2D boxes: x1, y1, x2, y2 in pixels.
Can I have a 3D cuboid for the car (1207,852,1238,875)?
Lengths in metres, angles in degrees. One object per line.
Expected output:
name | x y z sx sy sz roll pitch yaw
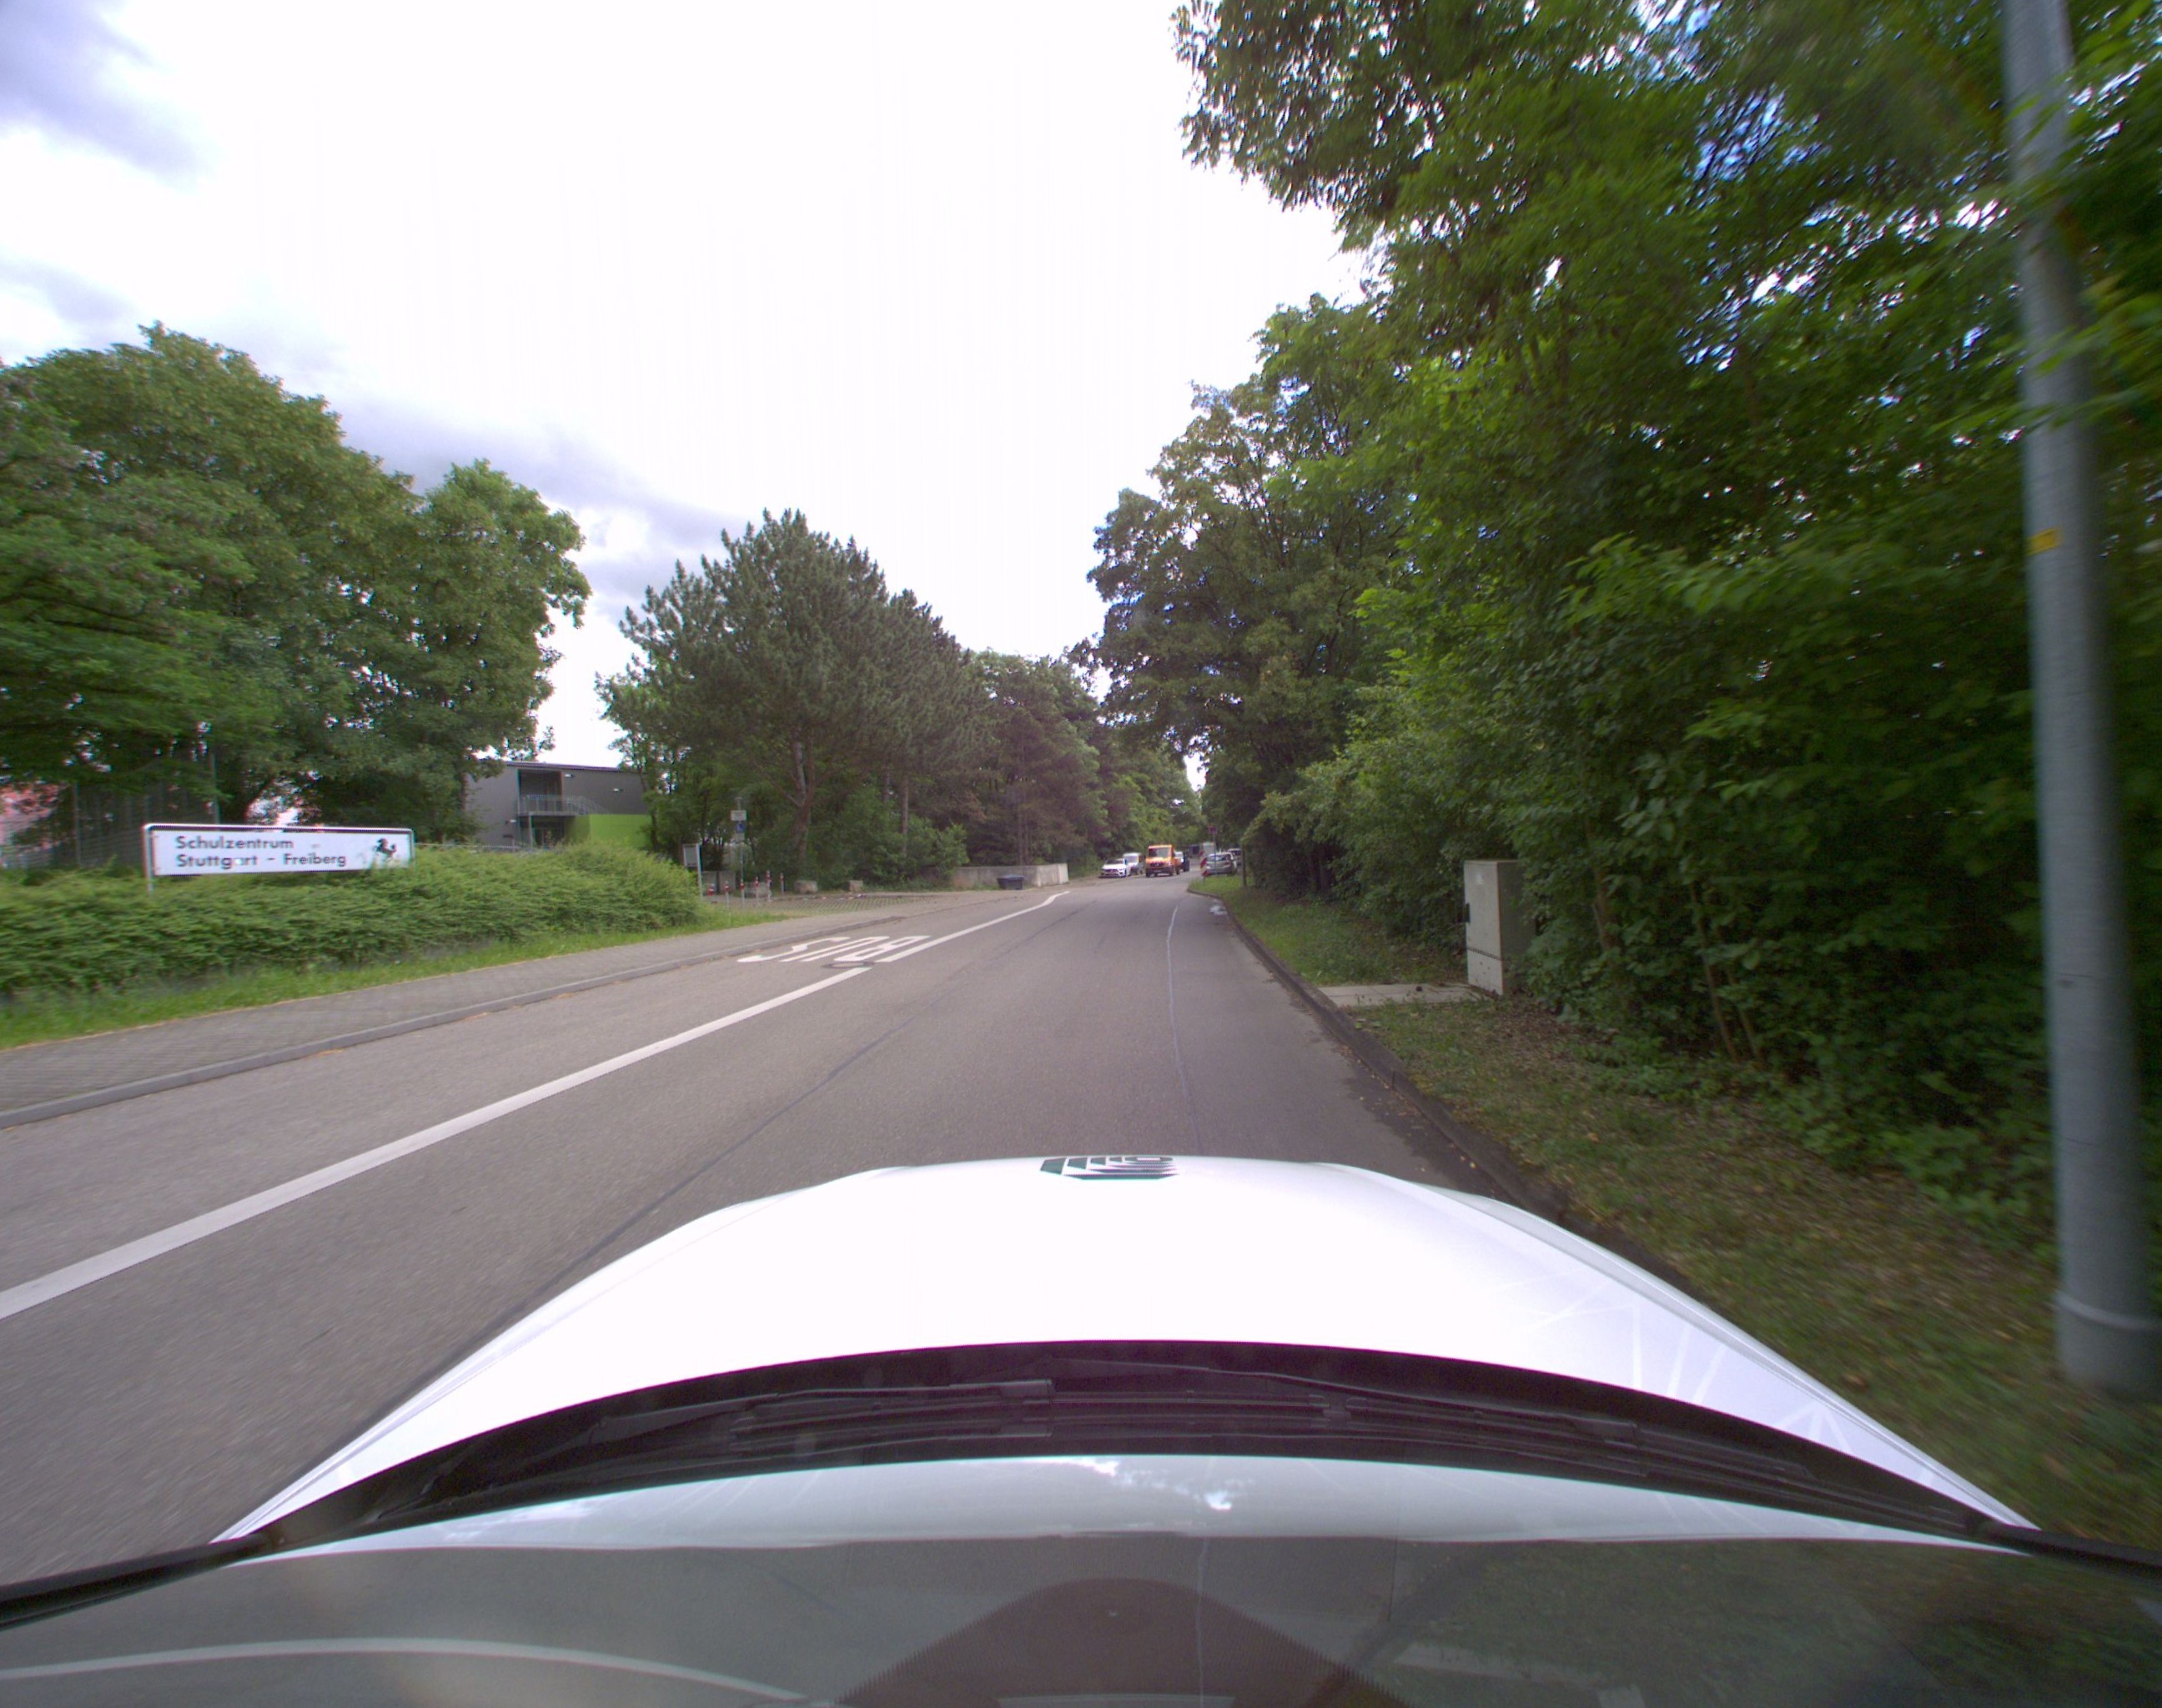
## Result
car | 10.135 0.649 57.998 1.873 1.507 5.193 -3 -1 12

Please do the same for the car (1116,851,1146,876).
car | 4.204 0.786 67.396 1.708 1.921 4.120 -1 1 14

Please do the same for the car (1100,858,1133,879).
car | 2.671 1.036 60.561 1.794 1.403 4.386 -1 0 11

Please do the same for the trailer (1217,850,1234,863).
trailer | 21.429 0.338 121.101 1.970 1.811 5.156 -4 0 5

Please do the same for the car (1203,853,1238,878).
car | 8.711 0.668 50.665 1.780 1.411 4.074 -3 -1 13

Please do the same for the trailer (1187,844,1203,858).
trailer | 21.235 -0.536 151.782 1.992 2.398 3.989 -3 0 -8

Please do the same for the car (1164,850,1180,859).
car | 19.016 0.084 170.542 2.037 1.803 4.064 -4 0 -13

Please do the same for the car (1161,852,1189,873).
car | 8.480 0.765 72.924 1.981 1.735 5.353 -3 -1 11

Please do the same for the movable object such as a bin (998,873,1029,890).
movable object such as a bin | -3.087 1.248 37.238 1.149 0.760 1.040 0 -2 -26

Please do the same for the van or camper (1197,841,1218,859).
van or camper | 21.925 -0.616 141.005 2.474 2.876 6.888 -3 0 0

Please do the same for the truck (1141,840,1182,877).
truck | 6.094 0.317 60.745 2.307 2.470 6.039 -4 0 11

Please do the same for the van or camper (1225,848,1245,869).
van or camper | 14.980 0.478 79.018 1.790 1.838 4.334 -3 -2 11

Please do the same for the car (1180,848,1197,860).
car | 20.746 0.039 157.250 1.993 2.025 3.989 -6 2 -8
